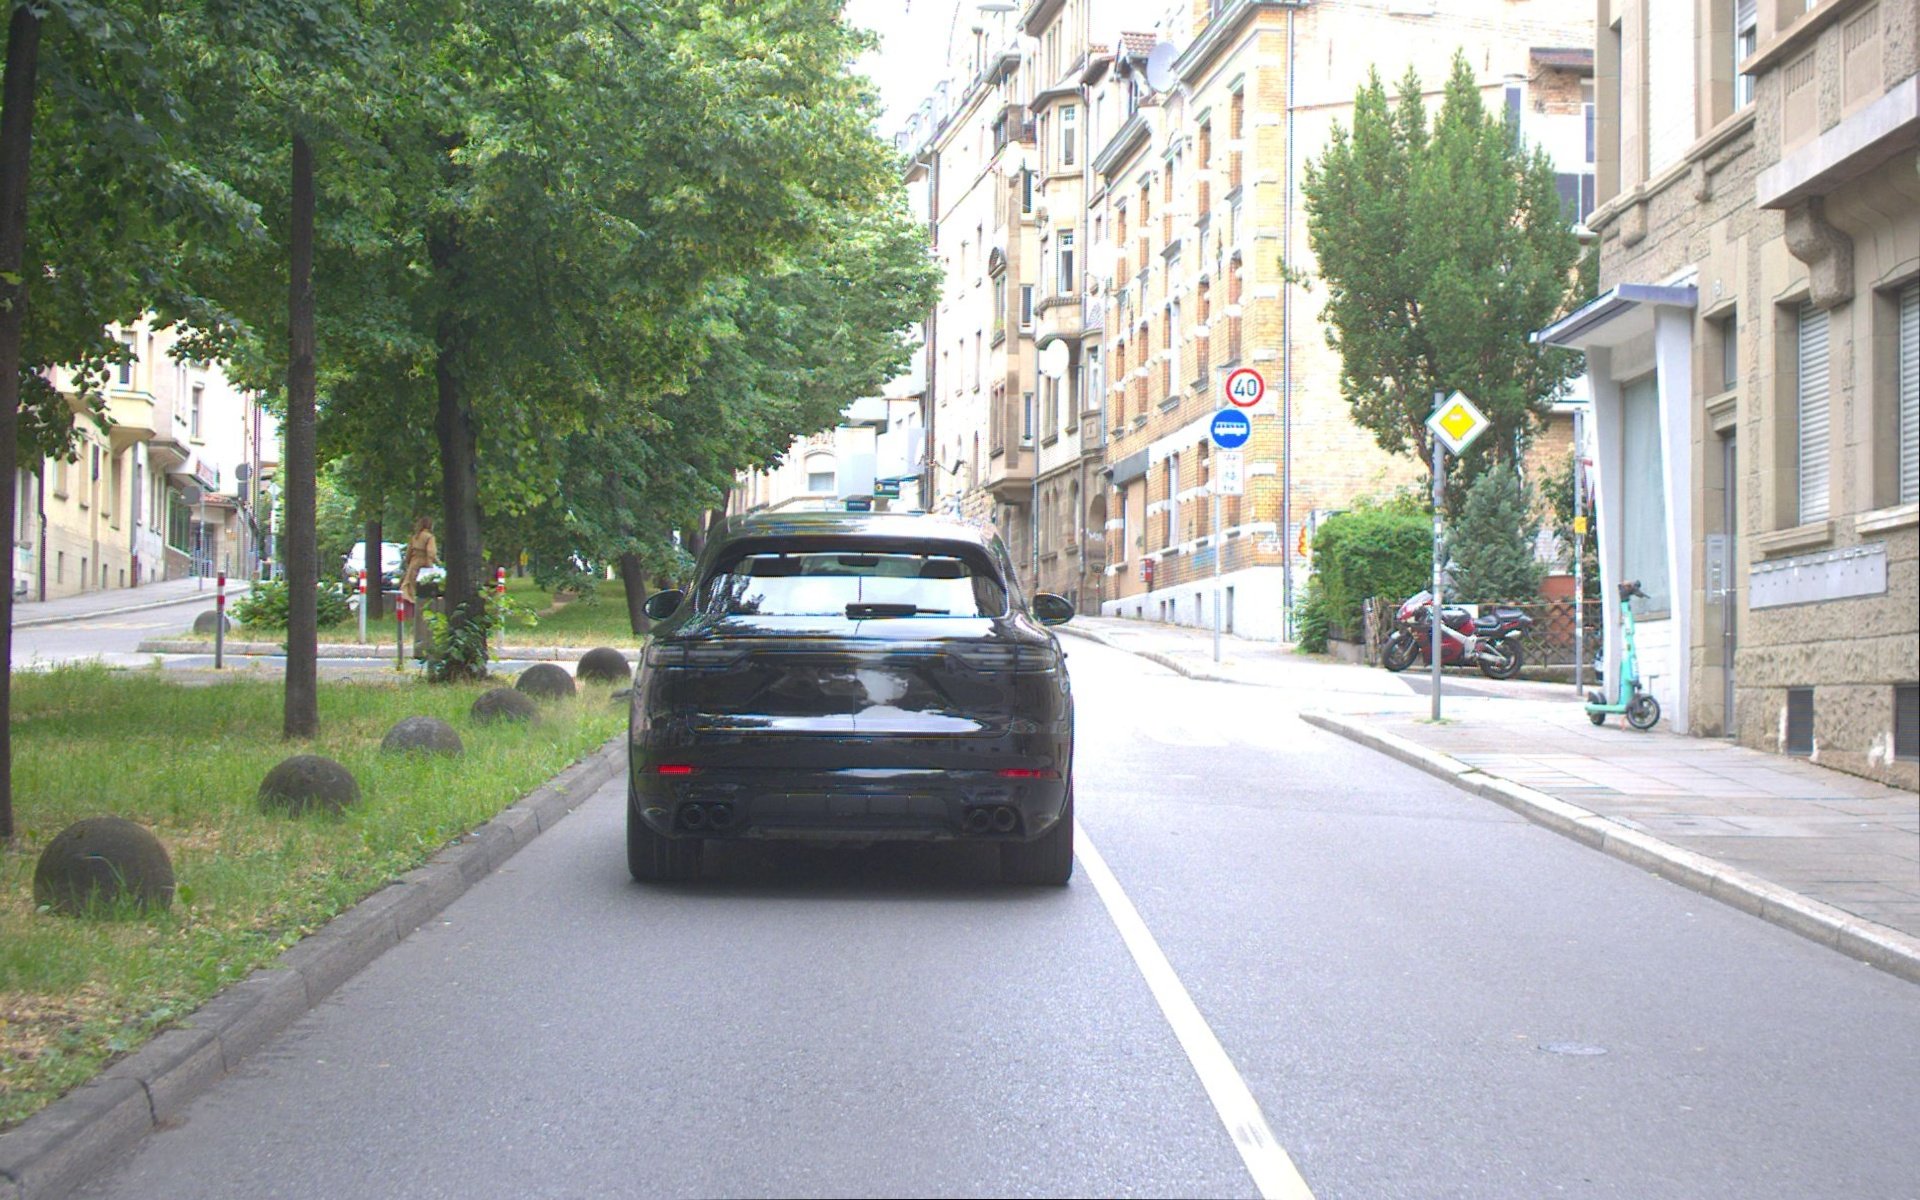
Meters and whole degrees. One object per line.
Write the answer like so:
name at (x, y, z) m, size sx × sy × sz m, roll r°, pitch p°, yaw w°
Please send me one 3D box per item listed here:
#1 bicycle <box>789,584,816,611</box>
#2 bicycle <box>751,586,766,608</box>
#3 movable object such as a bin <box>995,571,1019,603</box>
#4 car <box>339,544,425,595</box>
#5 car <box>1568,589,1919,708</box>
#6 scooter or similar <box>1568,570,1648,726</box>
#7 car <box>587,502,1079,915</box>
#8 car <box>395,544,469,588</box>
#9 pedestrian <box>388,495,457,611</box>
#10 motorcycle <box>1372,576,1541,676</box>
bicycle at (-7.237, -0.102, 157.565) m, size 0.879 × 1.125 × 2.980 m, roll 2°, pitch -1°, yaw -9°
bicycle at (-9.895, -0.136, 168.538) m, size 0.446 × 1.033 × 2.249 m, roll 1°, pitch -2°, yaw -10°
movable object such as a bin at (1.349, -0.369, 98.118) m, size 0.594 × 0.901 × 0.563 m, roll 2°, pitch 0°, yaw -6°
car at (-16.617, -0.890, 99.067) m, size 1.708 × 1.377 × 4.669 m, roll 0°, pitch 2°, yaw 0°
car at (10.146, 0.612, 44.523) m, size 4.124 × 1.281 × 1.783 m, roll 2°, pitch 4°, yaw -3°
scooter or similar at (5.402, 0.388, 28.704) m, size 0.410 × 1.206 × 1.145 m, roll -1°, pitch 3°, yaw -1°
car at (-0.635, 0.402, 16.347) m, size 1.993 × 1.660 × 4.001 m, roll 2°, pitch 1°, yaw -3°
car at (-17.497, -1.132, 114.037) m, size 1.758 × 1.377 × 4.669 m, roll 0°, pitch 2°, yaw 0°
pedestrian at (-8.187, -0.708, 52.394) m, size 0.833 × 1.706 × 1.123 m, roll -2°, pitch -1°, yaw -1°
motorcycle at (6.792, 0.353, 47.076) m, size 2.055 × 1.263 × 1.010 m, roll 2°, pitch 1°, yaw -5°
